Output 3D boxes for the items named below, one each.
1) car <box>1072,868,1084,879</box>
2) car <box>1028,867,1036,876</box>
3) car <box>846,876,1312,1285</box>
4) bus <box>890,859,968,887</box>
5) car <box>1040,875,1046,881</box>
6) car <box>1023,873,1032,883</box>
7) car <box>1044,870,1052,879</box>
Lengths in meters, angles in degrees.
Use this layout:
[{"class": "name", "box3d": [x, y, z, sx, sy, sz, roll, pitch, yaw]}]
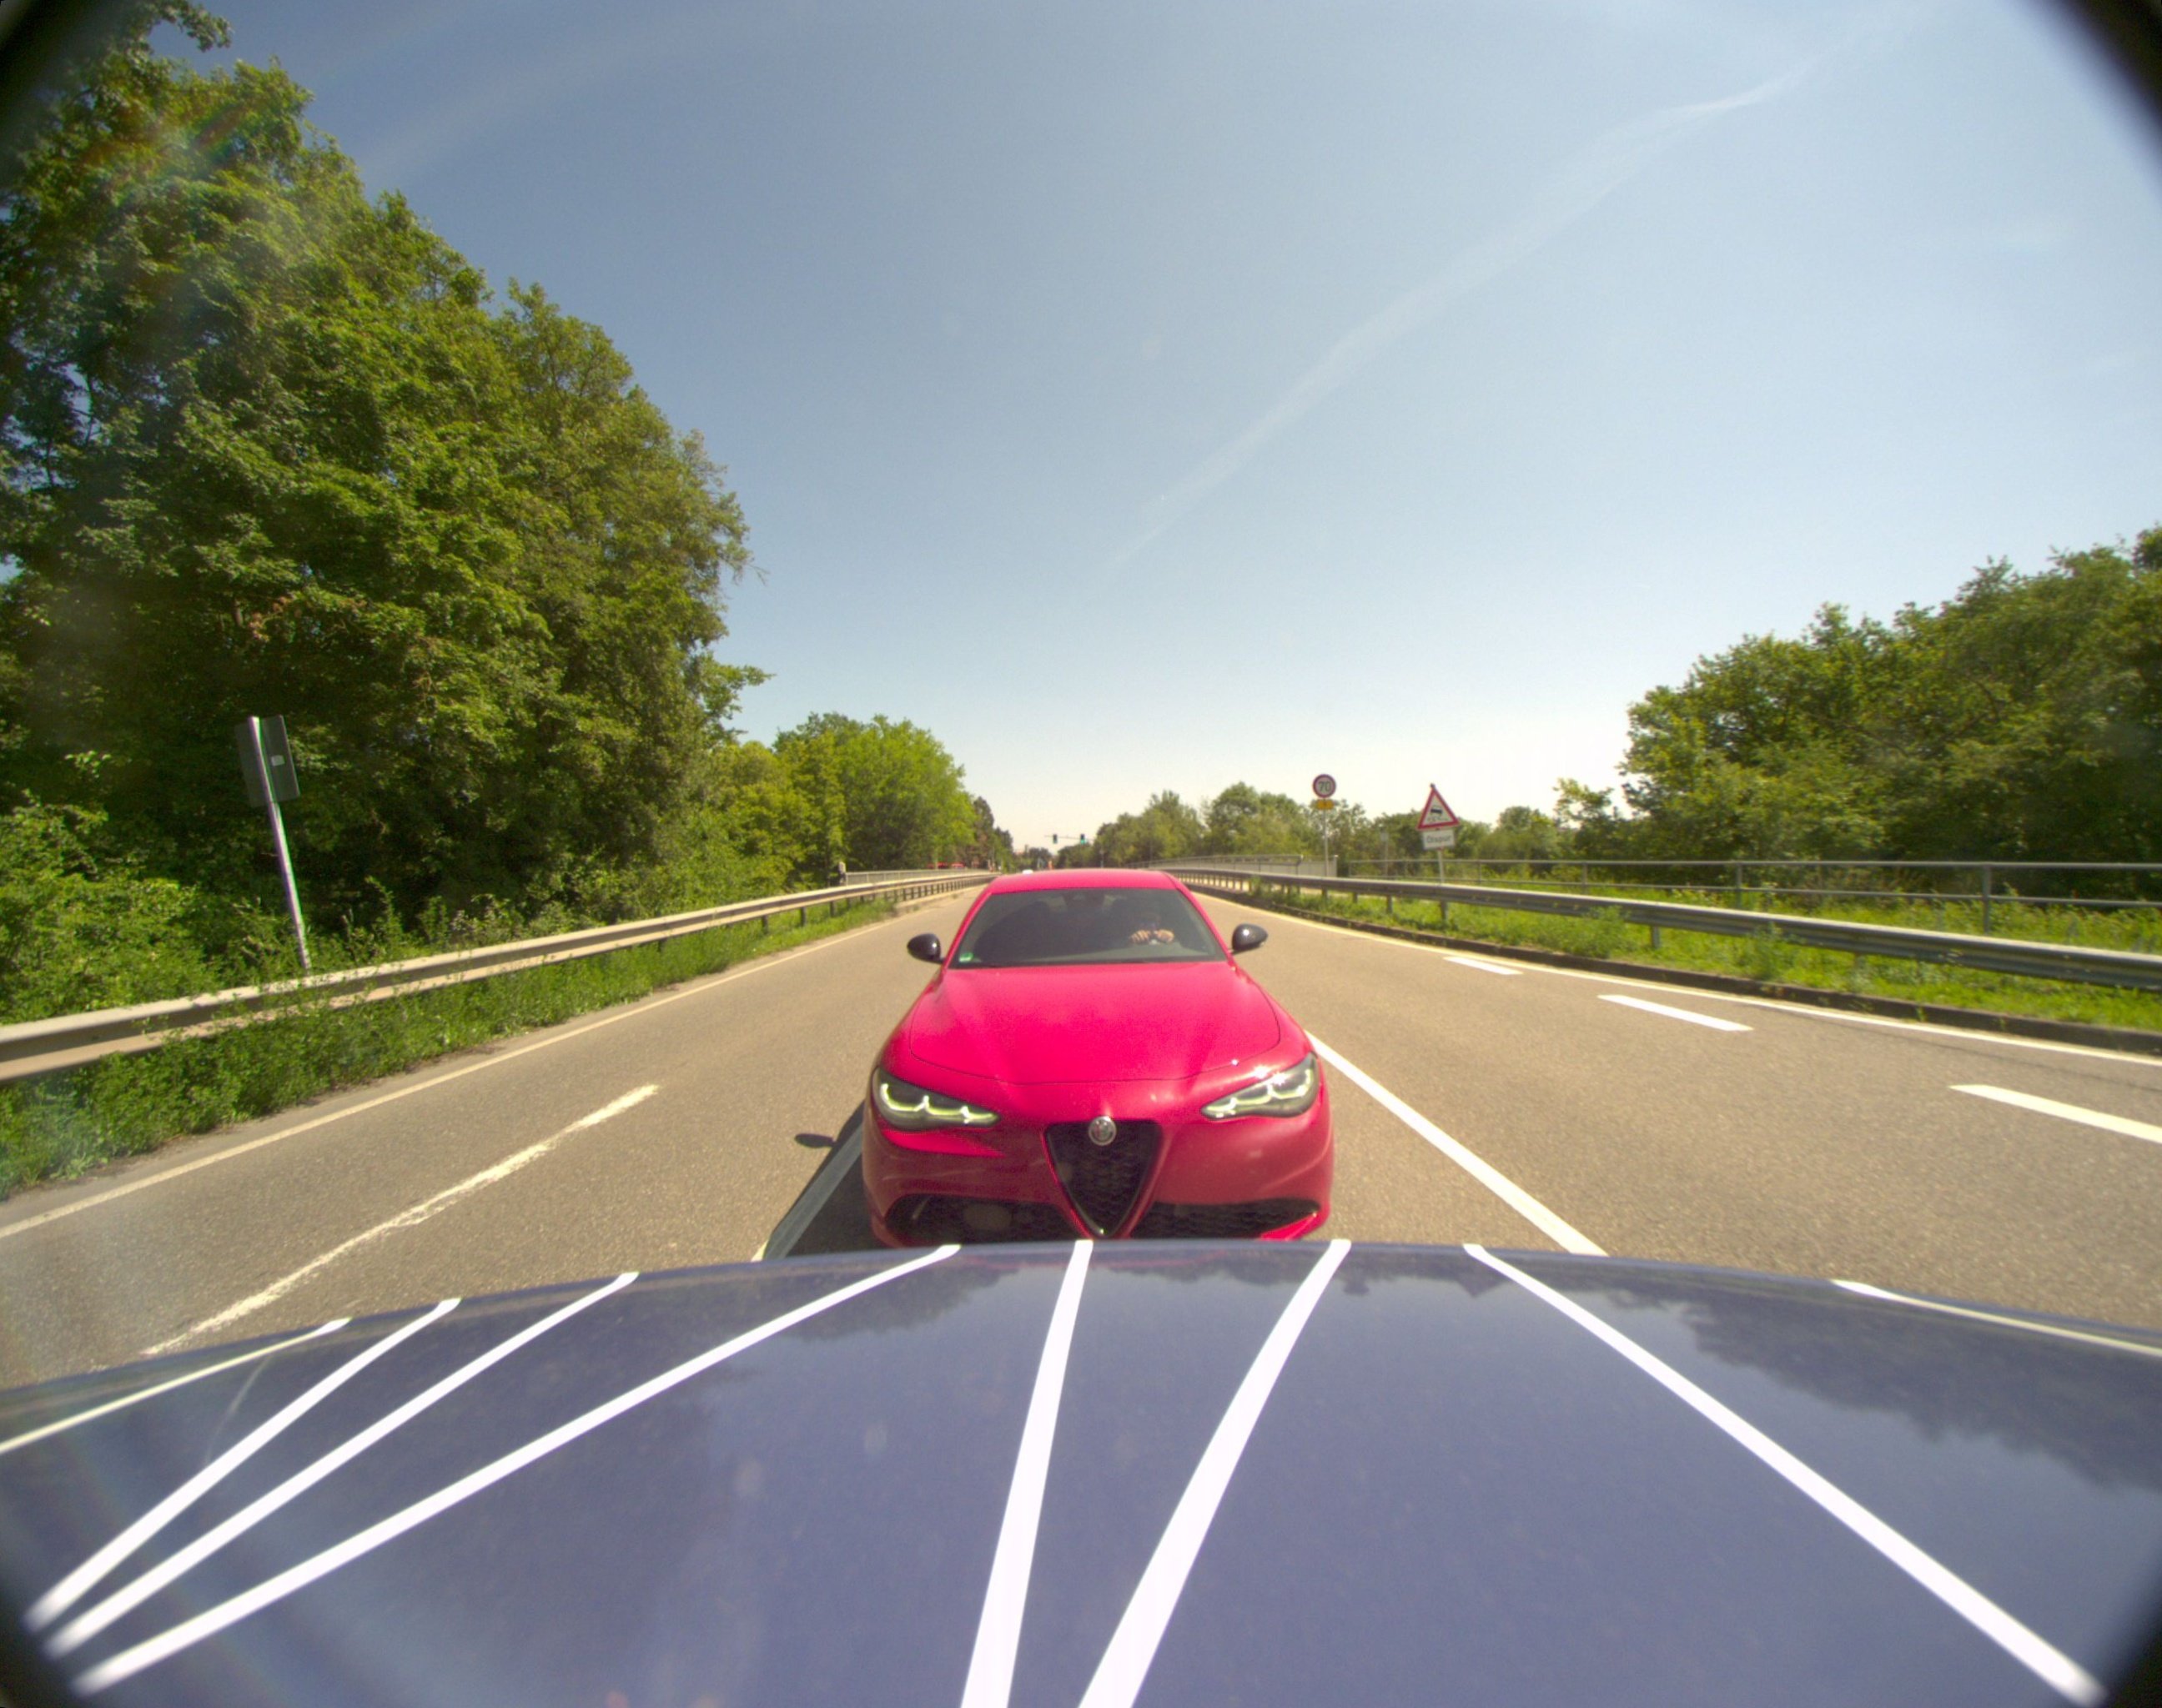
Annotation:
[{"class": "car", "box3d": [-0.437, 2.882, 111.590, 1.649, 1.410, 3.765, -2, 0, -2]}, {"class": "car", "box3d": [-9.051, 3.204, 140.220, 1.476, 1.565, 3.487, -1, 0, -4]}, {"class": "car", "box3d": [-0.045, 0.944, 5.118, 1.801, 1.448, 4.284, -1, 0, -1]}, {"class": "bus", "box3d": [-21.061, 2.592, 104.625, 12.394, 3.641, 2.874, -1, 1, 37]}, {"class": "car", "box3d": [-11.990, 7.665, 239.579, 1.848, 1.758, 3.999, -1, 0, -1]}, {"class": "car", "box3d": [-9.324, 4.184, 133.029, 1.416, 1.499, 3.315, -1, 0, -3]}, {"class": "car", "box3d": [-9.017, 5.587, 205.028, 1.996, 2.354, 5.180, -2, 0, -3]}]
